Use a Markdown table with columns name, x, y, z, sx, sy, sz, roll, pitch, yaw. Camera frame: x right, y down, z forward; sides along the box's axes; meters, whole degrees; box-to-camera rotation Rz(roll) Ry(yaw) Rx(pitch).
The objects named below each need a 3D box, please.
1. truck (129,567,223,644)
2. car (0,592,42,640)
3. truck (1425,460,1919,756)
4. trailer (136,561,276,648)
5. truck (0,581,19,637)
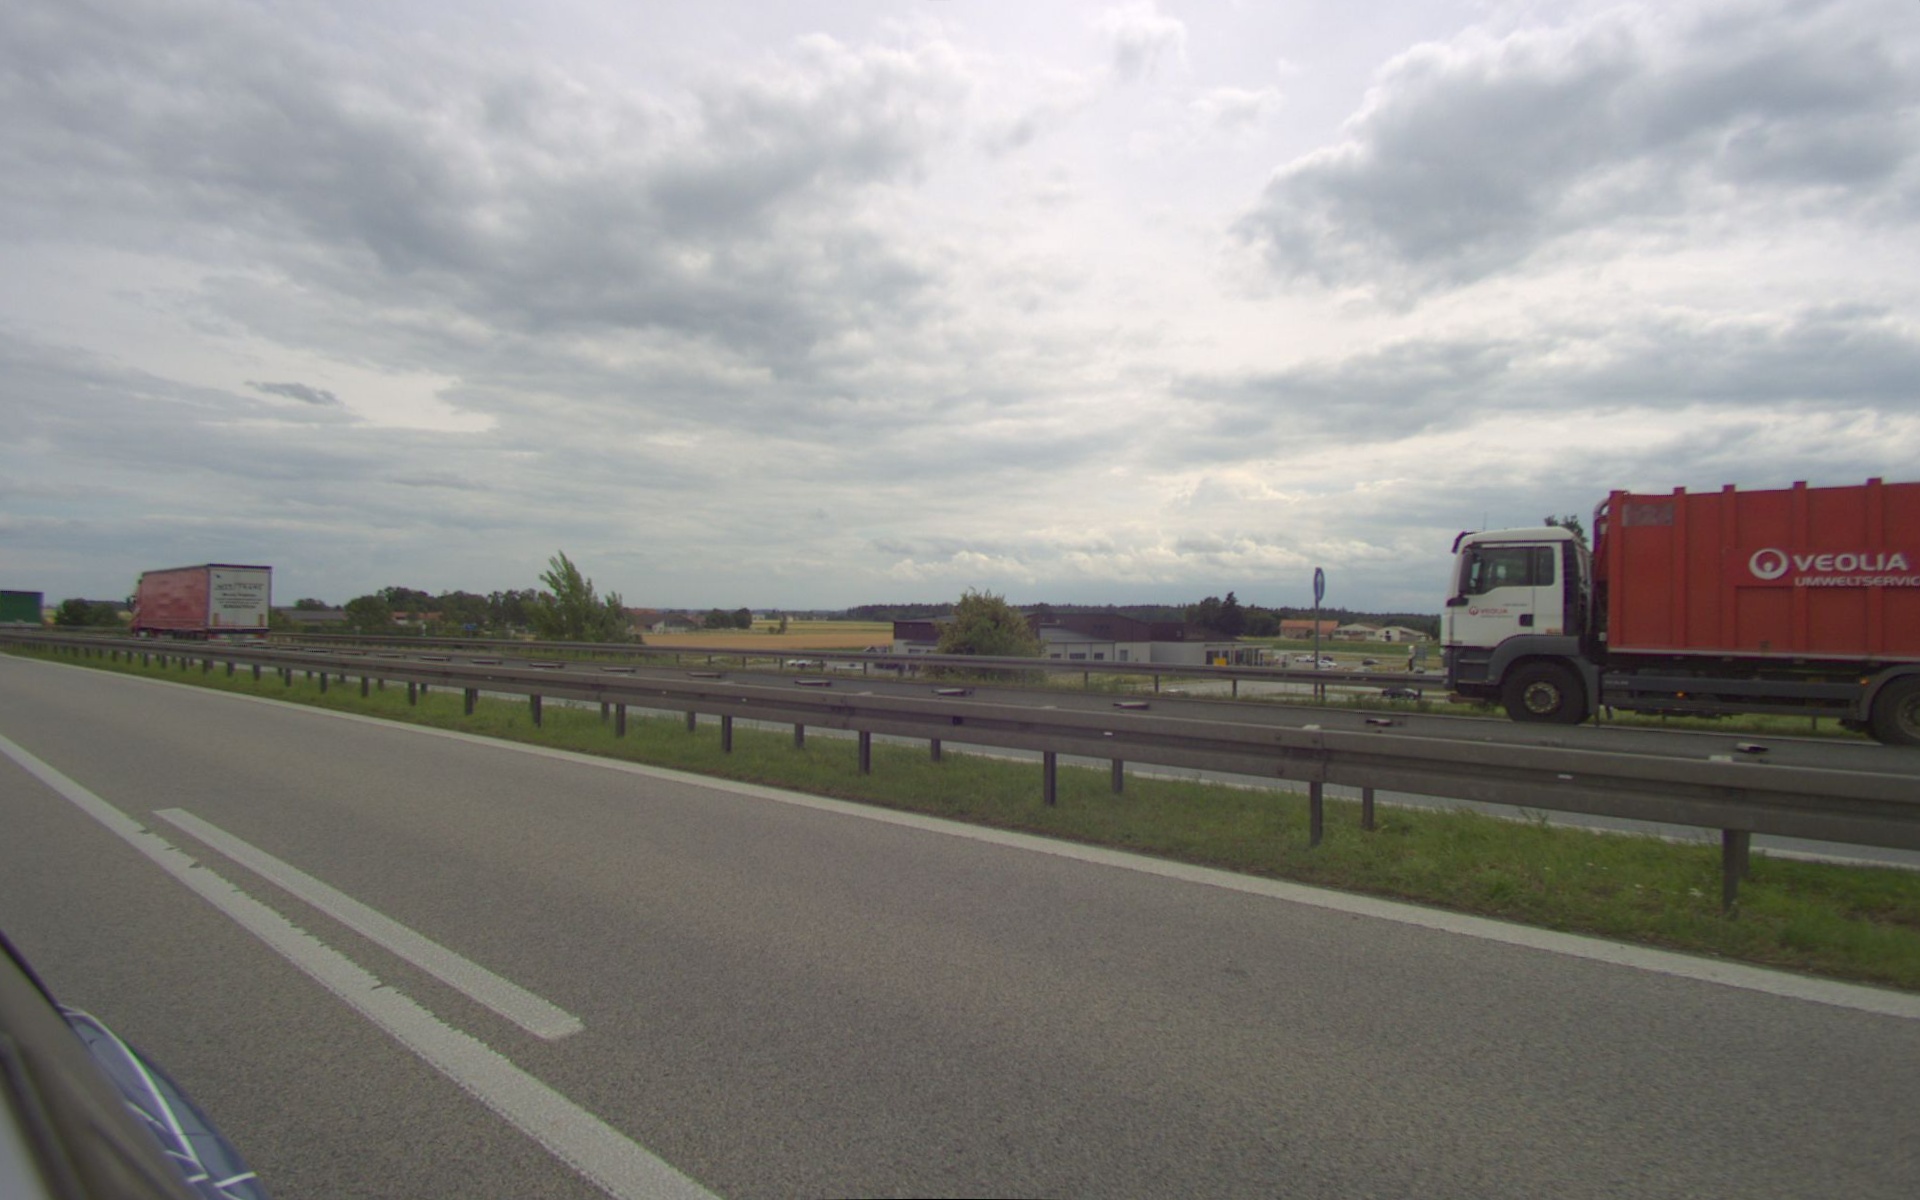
| name | x | y | z | sx | sy | sz | roll | pitch | yaw |
| --- | --- | --- | --- | --- | --- | --- | --- | --- | --- |
| truck | -43.242 | 0.311 | 55.751 | 6.321 | 3.977 | 2.880 | -1 | 0 | 41 |
| car | -67.314 | 1.127 | 71.693 | 7.205 | 3.296 | 2.512 | -1 | 0 | 41 |
| truck | 12.336 | 0.151 | 13.270 | 11.071 | 3.563 | 2.641 | -1 | -3 | 41 |
| trailer | -39.075 | 0.271 | 52.101 | 13.969 | 3.971 | 2.879 | -1 | 0 | 41 |
| truck | -101.904 | 1.015 | 105.335 | 14.030 | 5.602 | 4.278 | -1 | 0 | 41 |
